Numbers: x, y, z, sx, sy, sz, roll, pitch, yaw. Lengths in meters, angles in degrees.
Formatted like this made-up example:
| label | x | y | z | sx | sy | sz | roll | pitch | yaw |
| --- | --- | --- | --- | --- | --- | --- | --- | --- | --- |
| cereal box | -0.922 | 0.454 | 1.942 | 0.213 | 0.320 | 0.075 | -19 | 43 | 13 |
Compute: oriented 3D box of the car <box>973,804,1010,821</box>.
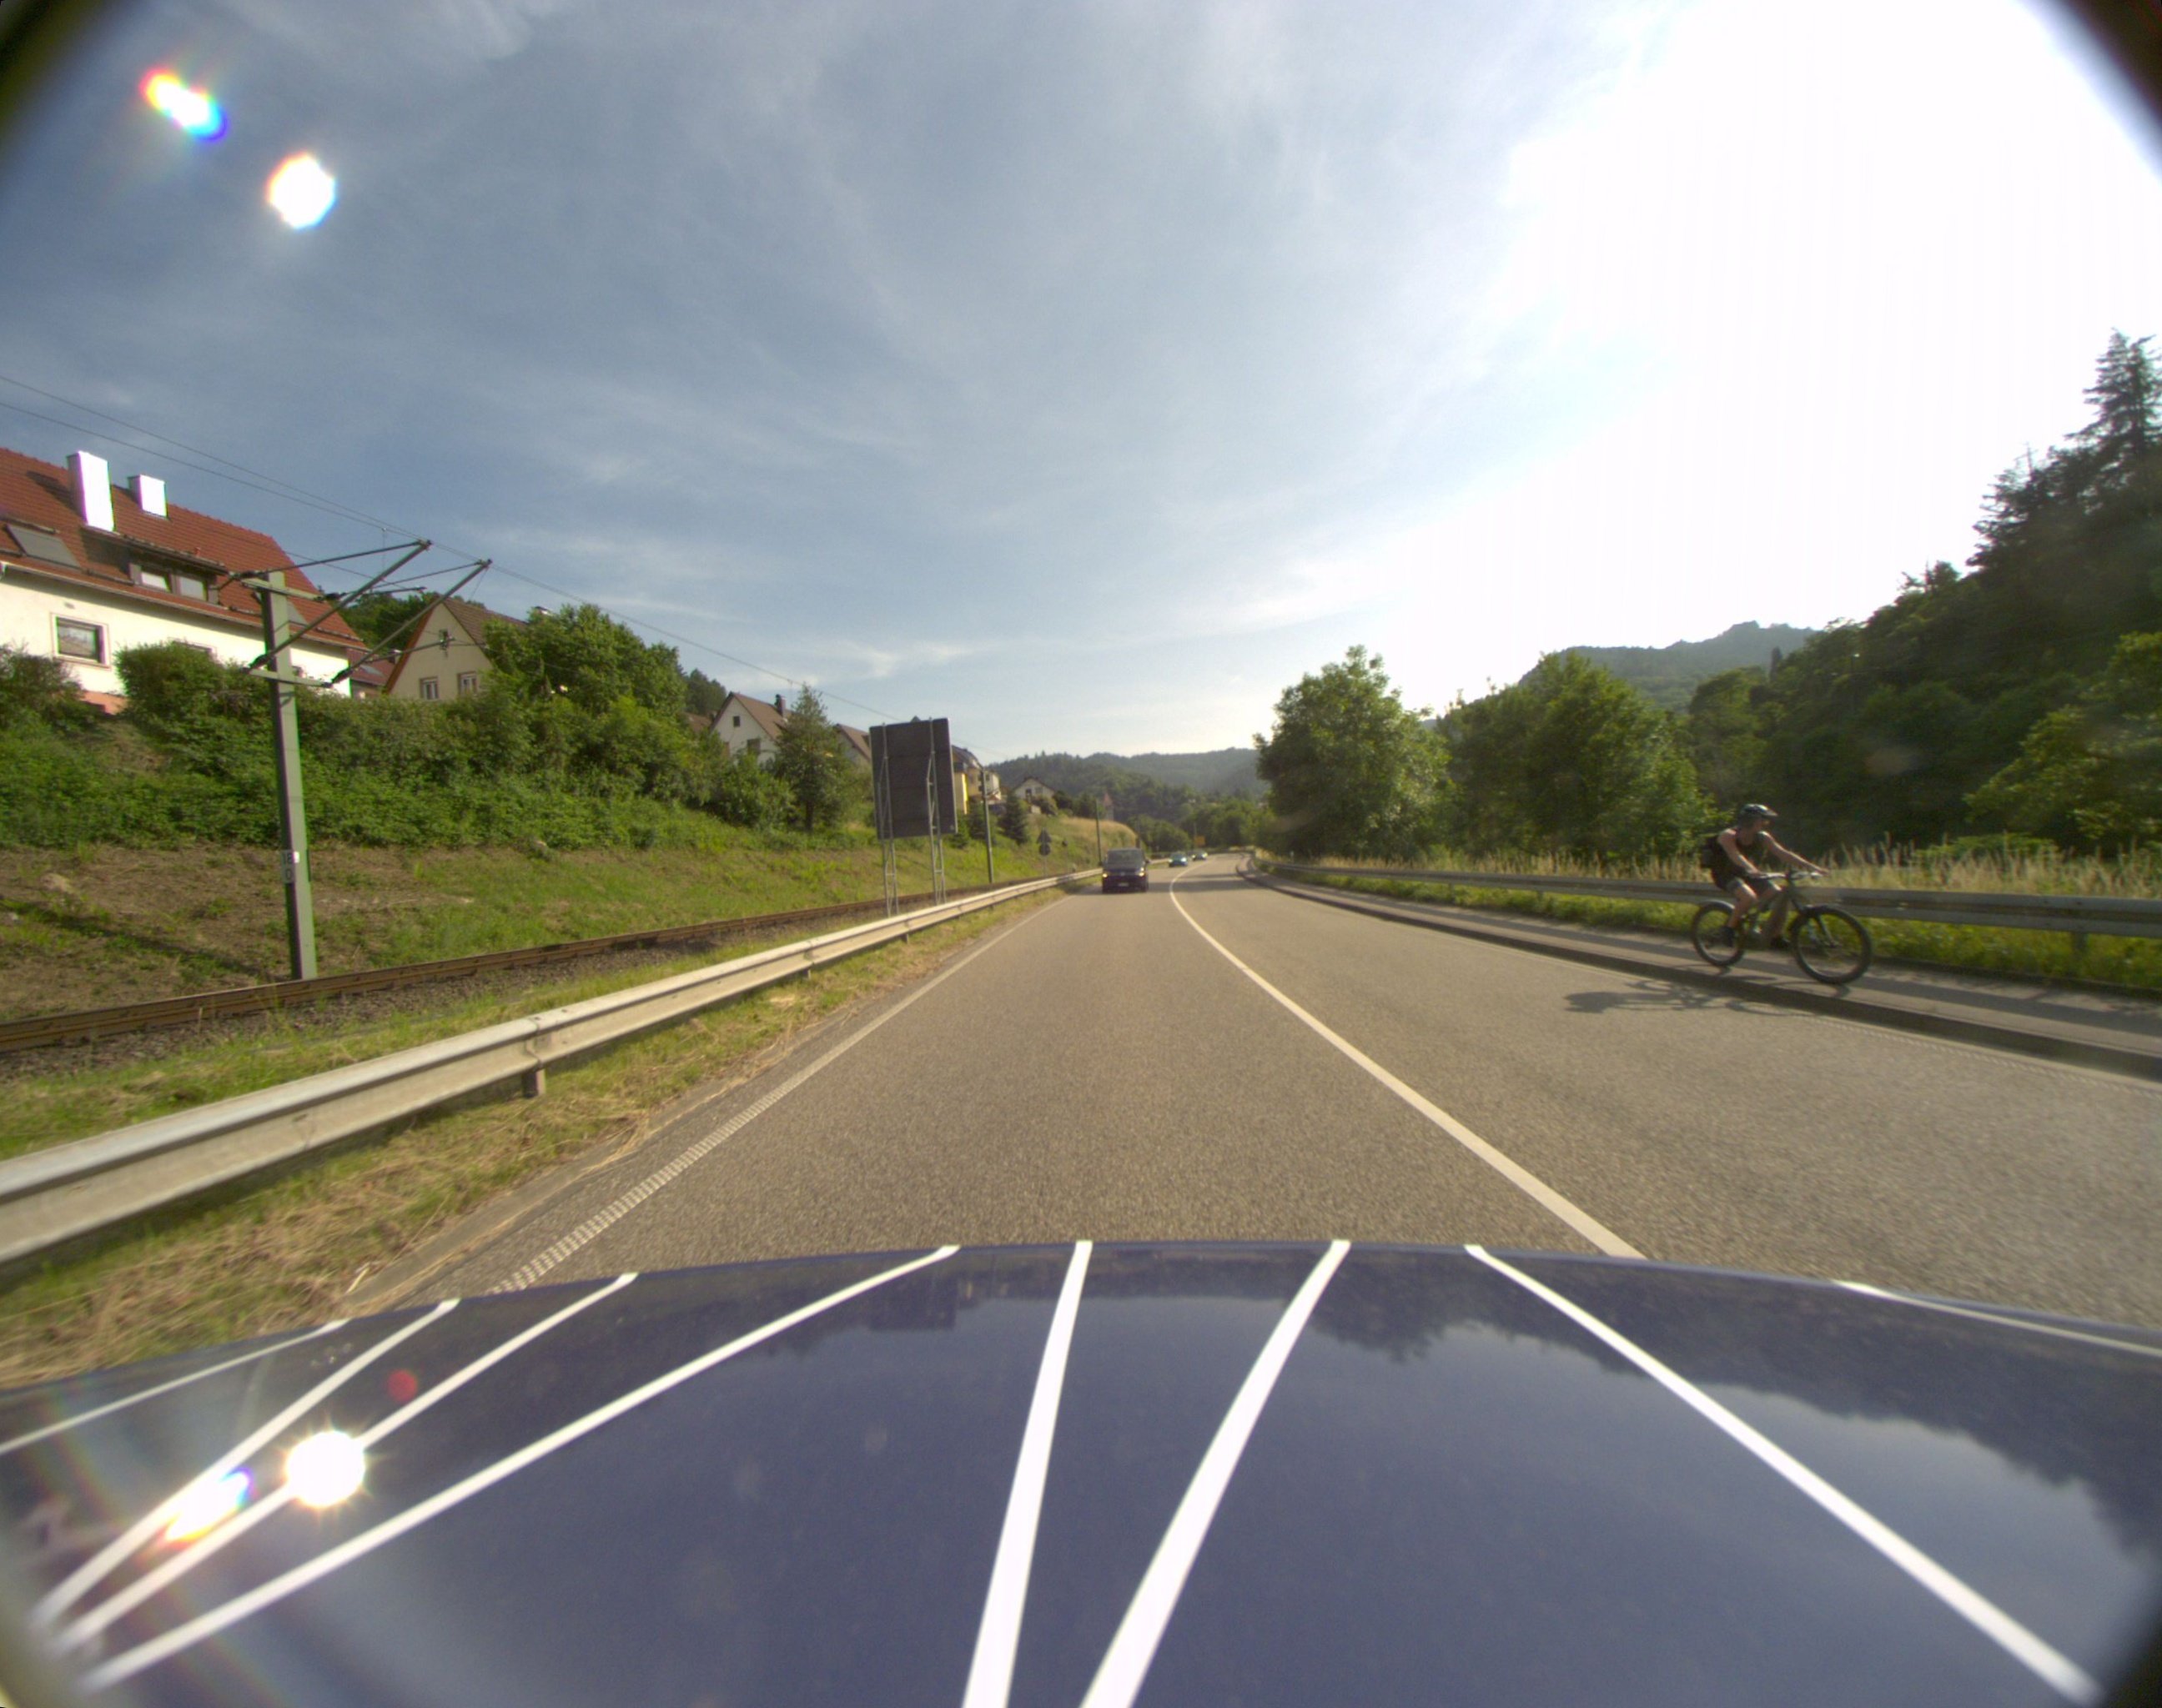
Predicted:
| label | x | y | z | sx | sy | sz | roll | pitch | yaw |
| --- | --- | --- | --- | --- | --- | --- | --- | --- | --- |
| car | -10.188 | -4.750 | 86.896 | 3.748 | 1.531 | 1.753 | -6 | 1 | 6 |

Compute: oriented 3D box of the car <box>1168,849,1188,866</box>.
| label | x | y | z | sx | sy | sz | roll | pitch | yaw |
| --- | --- | --- | --- | --- | --- | --- | --- | --- | --- |
| car | 10.233 | 0.351 | 80.119 | 1.883 | 1.735 | 4.181 | -2 | 0 | 10 |

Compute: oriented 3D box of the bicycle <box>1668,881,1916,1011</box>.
| label | x | y | z | sx | sy | sz | roll | pitch | yaw |
| --- | --- | --- | --- | --- | --- | --- | --- | --- | --- |
| bicycle | 7.138 | 0.855 | 7.831 | 0.558 | 1.039 | 2.230 | -6 | -1 | 6 |

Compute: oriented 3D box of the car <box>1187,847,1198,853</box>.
| label | x | y | z | sx | sy | sz | roll | pitch | yaw |
| --- | --- | --- | --- | --- | --- | --- | --- | --- | --- |
| car | 26.765 | -0.978 | 182.275 | 1.582 | 1.470 | 3.998 | -1 | 0 | -6 |

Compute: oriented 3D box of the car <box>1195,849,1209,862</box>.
| label | x | y | z | sx | sy | sz | roll | pitch | yaw |
| --- | --- | --- | --- | --- | --- | --- | --- | --- | --- |
| car | 17.403 | 0.198 | 109.313 | 1.884 | 1.735 | 4.182 | -2 | 0 | 9 |

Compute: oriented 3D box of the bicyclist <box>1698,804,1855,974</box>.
| label | x | y | z | sx | sy | sz | roll | pitch | yaw |
| --- | --- | --- | --- | --- | --- | --- | --- | --- | --- |
| bicyclist | 7.084 | 0.340 | 7.798 | 0.558 | 1.577 | 1.036 | -6 | -1 | 6 |

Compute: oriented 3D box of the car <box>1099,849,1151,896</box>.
| label | x | y | z | sx | sy | sz | roll | pitch | yaw |
| --- | --- | --- | --- | --- | --- | --- | --- | --- | --- |
| car | 2.037 | 0.753 | 33.796 | 2.017 | 1.905 | 4.314 | -1 | 0 | 7 |
